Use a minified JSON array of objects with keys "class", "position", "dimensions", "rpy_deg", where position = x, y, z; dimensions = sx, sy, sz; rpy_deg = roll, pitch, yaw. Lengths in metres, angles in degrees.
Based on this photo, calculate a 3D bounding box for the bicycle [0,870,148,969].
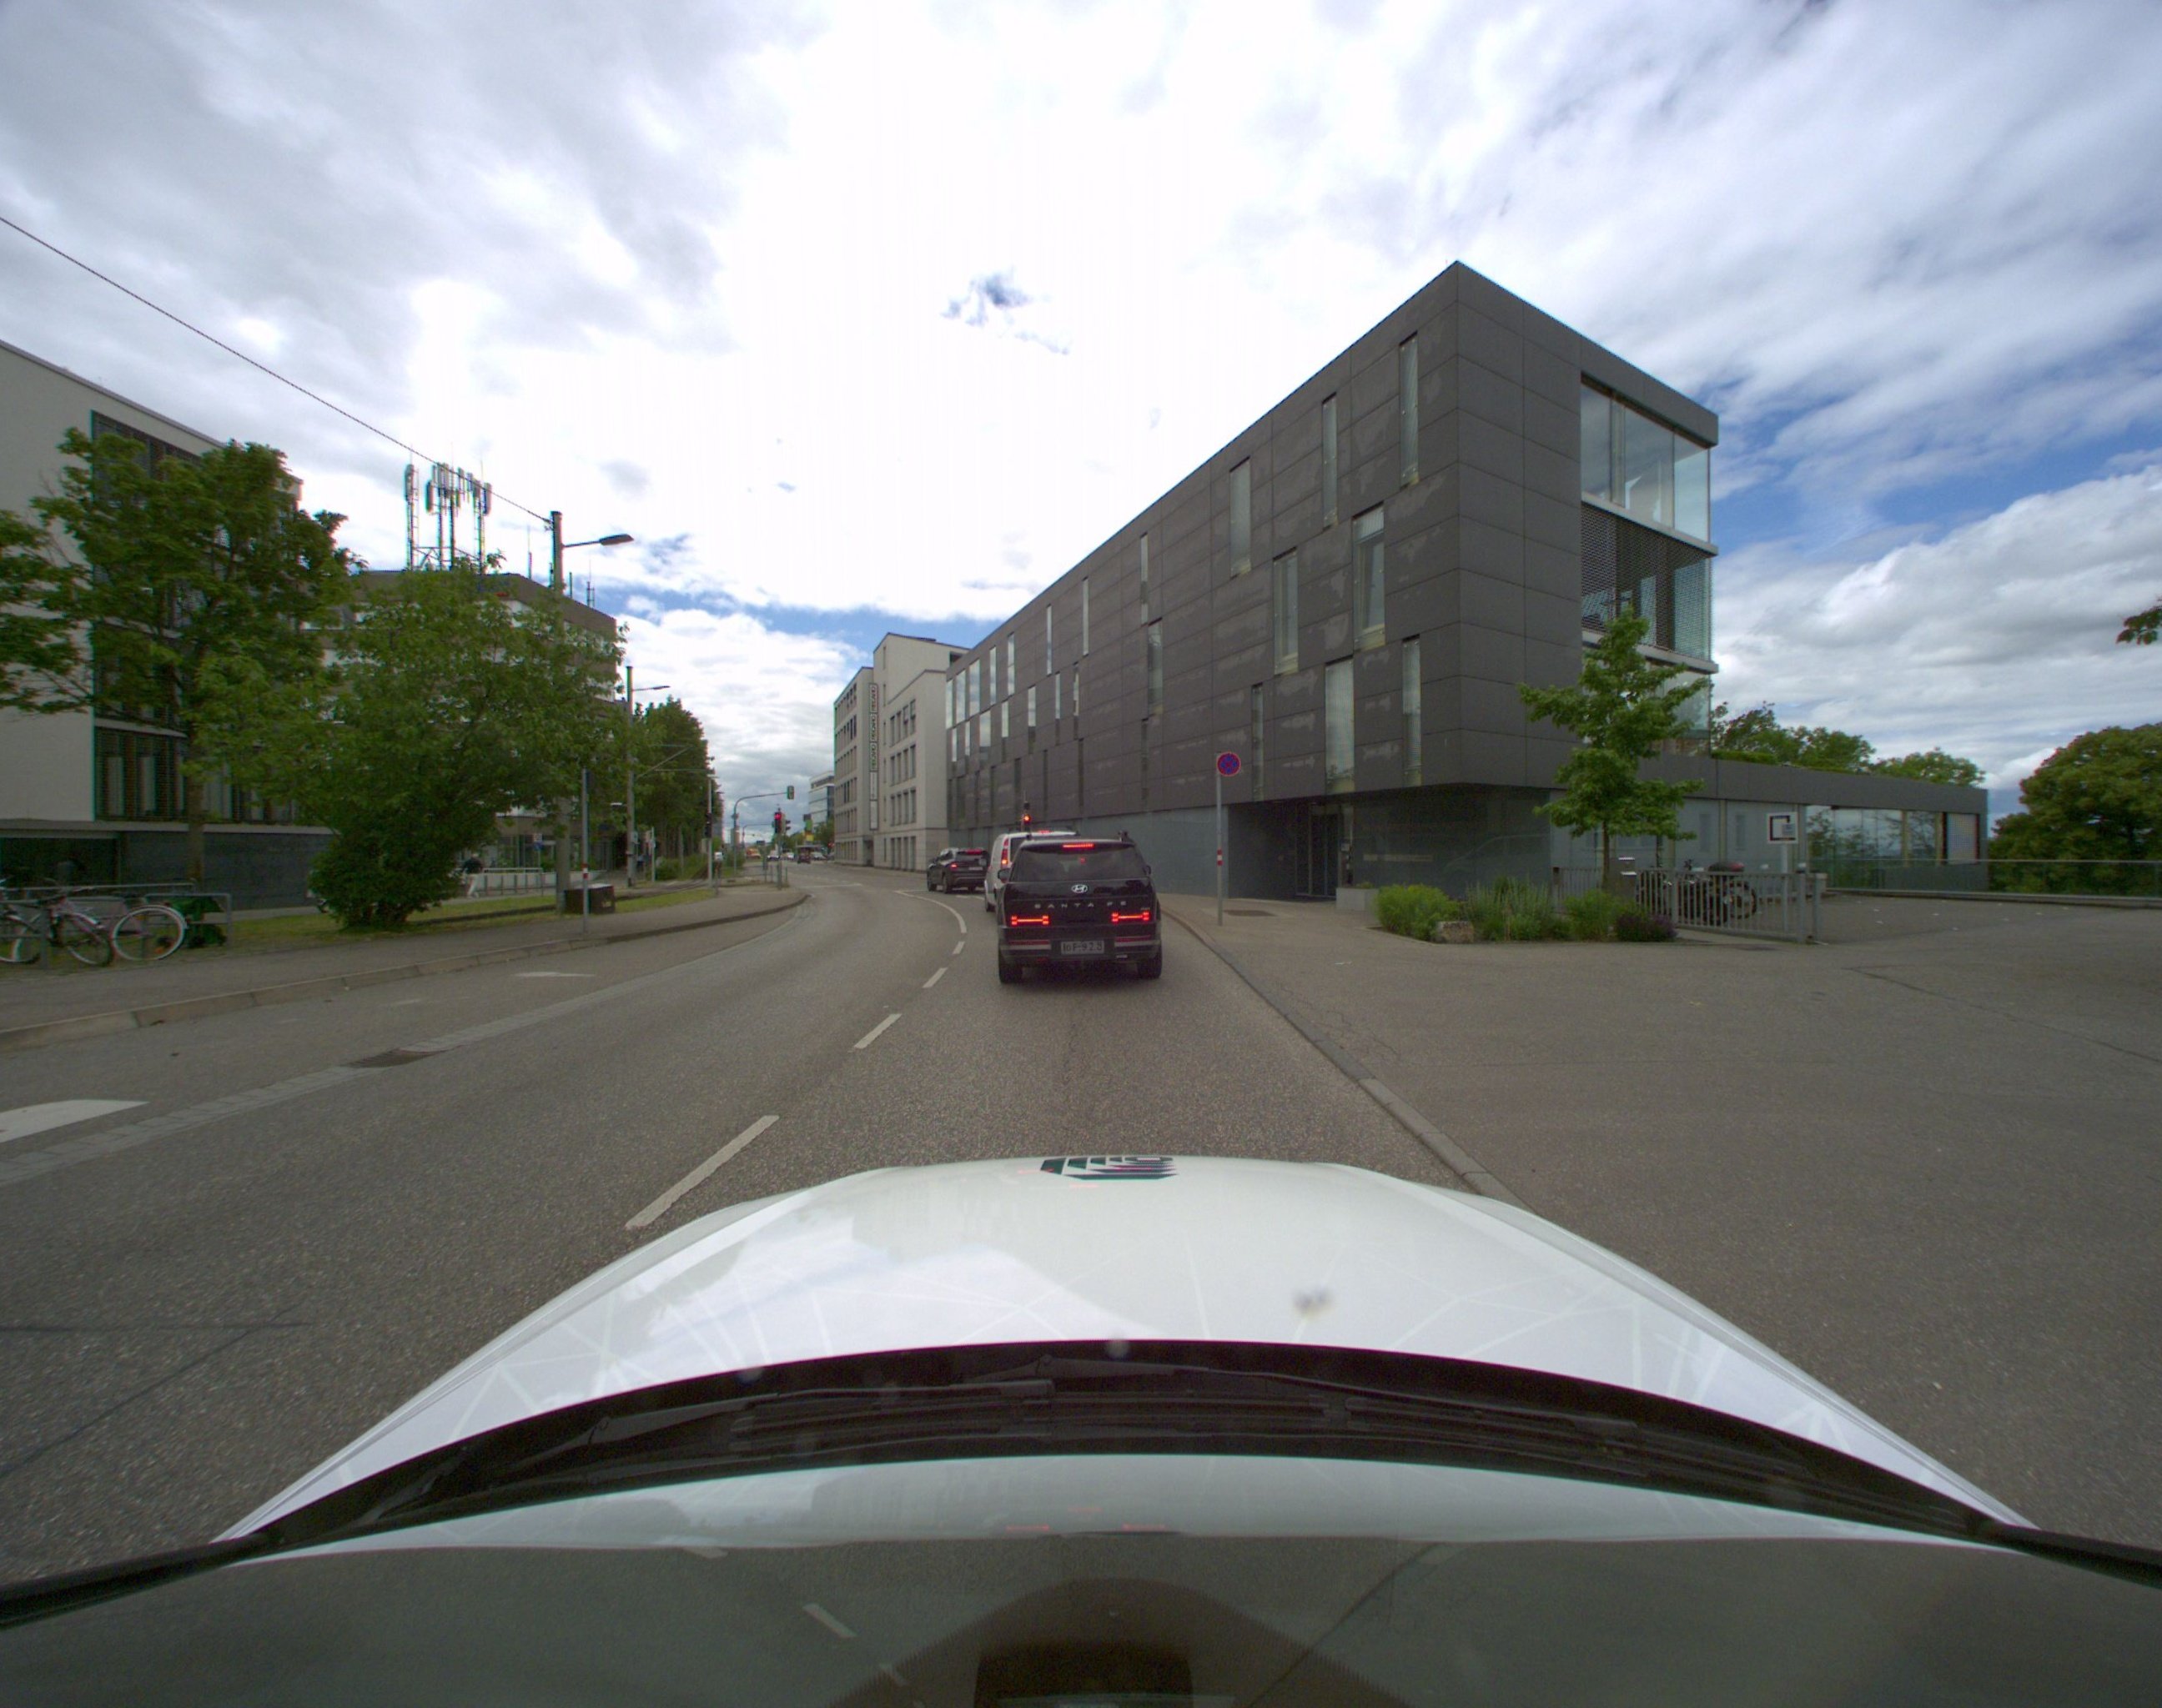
[{"class":"bicycle","position":[-12.671,0.770,9.837],"dimensions":[2.091,1.106,0.632],"rpy_deg":[1,0,1]}]

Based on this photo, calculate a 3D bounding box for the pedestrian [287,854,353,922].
[{"class":"pedestrian","position":[-20.694,0.906,22.160],"dimensions":[0.827,1.765,0.907],"rpy_deg":[2,-1,1]}]

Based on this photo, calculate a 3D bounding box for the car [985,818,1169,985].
[{"class":"car","position":[-0.090,0.493,10.685],"dimensions":[1.910,1.725,4.167],"rpy_deg":[1,0,-2]}]

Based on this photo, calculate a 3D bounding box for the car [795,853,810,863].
[{"class":"car","position":[-42.207,0.601,123.564],"dimensions":[1.904,1.486,3.977],"rpy_deg":[-1,0,-17]}]

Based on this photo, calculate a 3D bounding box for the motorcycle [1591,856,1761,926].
[{"class":"motorcycle","position":[11.765,0.686,16.255],"dimensions":[0.850,1.260,2.672],"rpy_deg":[-1,0,-25]}]

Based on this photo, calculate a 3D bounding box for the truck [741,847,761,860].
[{"class":"truck","position":[-73.905,-0.100,182.282],"dimensions":[2.593,2.825,6.913],"rpy_deg":[-1,0,-36]}]

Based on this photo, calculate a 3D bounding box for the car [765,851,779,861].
[{"class":"car","position":[-52.099,0.309,137.385],"dimensions":[1.855,1.695,3.980],"rpy_deg":[-1,0,-15]}]

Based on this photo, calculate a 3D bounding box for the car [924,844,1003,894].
[{"class":"car","position":[-4.493,0.551,30.505],"dimensions":[1.856,1.677,4.341],"rpy_deg":[-2,0,-23]}]

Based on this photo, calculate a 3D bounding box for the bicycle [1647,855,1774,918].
[{"class":"bicycle","position":[13.348,0.654,17.342],"dimensions":[0.617,1.260,2.085],"rpy_deg":[-1,0,-25]}]

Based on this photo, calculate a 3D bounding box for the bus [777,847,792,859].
[{"class":"bus","position":[-82.778,-0.309,227.107],"dimensions":[3.097,2.928,10.260],"rpy_deg":[1,0,-24]}]

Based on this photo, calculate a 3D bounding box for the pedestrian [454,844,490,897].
[{"class":"pedestrian","position":[-23.467,0.637,31.403],"dimensions":[0.768,2.014,0.885],"rpy_deg":[2,-1,-18]}]

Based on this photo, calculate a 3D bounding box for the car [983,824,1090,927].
[{"class":"car","position":[-1.148,0.394,18.550],"dimensions":[1.856,2.033,4.420],"rpy_deg":[-1,1,-11]}]

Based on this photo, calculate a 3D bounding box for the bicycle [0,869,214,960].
[{"class":"bicycle","position":[-12.623,0.766,10.571],"dimensions":[2.090,1.106,0.632],"rpy_deg":[1,0,2]}]

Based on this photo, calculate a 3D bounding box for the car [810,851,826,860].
[{"class":"car","position":[-49.743,0.286,154.039],"dimensions":[1.866,1.628,3.956],"rpy_deg":[-1,0,-36]}]
